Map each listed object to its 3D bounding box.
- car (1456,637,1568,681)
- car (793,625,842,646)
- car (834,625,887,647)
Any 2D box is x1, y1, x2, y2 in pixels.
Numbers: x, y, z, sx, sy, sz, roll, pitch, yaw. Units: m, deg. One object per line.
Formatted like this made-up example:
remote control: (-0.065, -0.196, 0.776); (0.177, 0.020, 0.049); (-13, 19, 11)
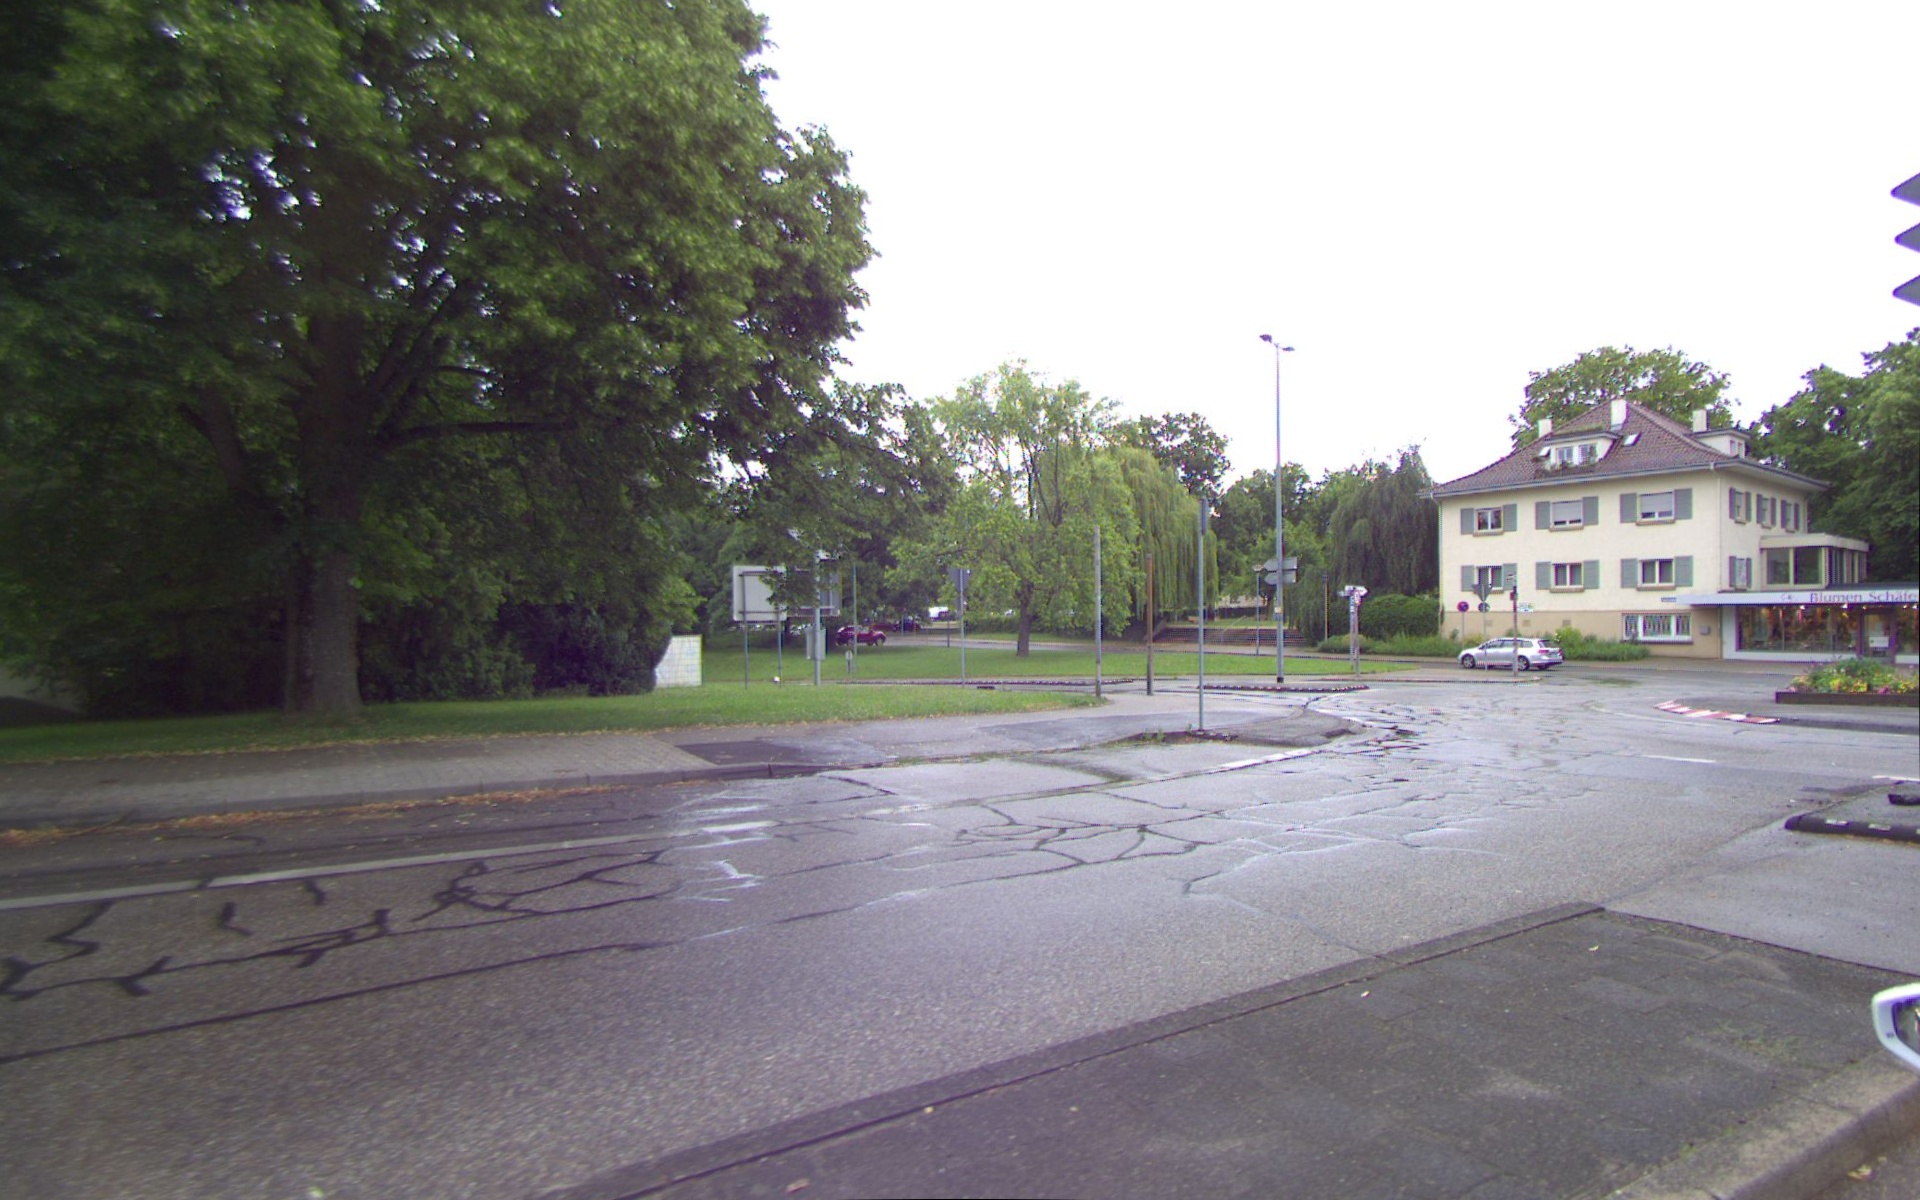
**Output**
car: (25.211, 2.661, 46.001); (1.973, 1.764, 4.117); (2, -1, -26)
car: (-11.818, 2.950, 83.142); (3.597, 1.615, 1.789); (2, -1, -33)
car: (-7.631, 2.749, 76.943); (3.597, 1.615, 1.789); (2, -1, -33)
